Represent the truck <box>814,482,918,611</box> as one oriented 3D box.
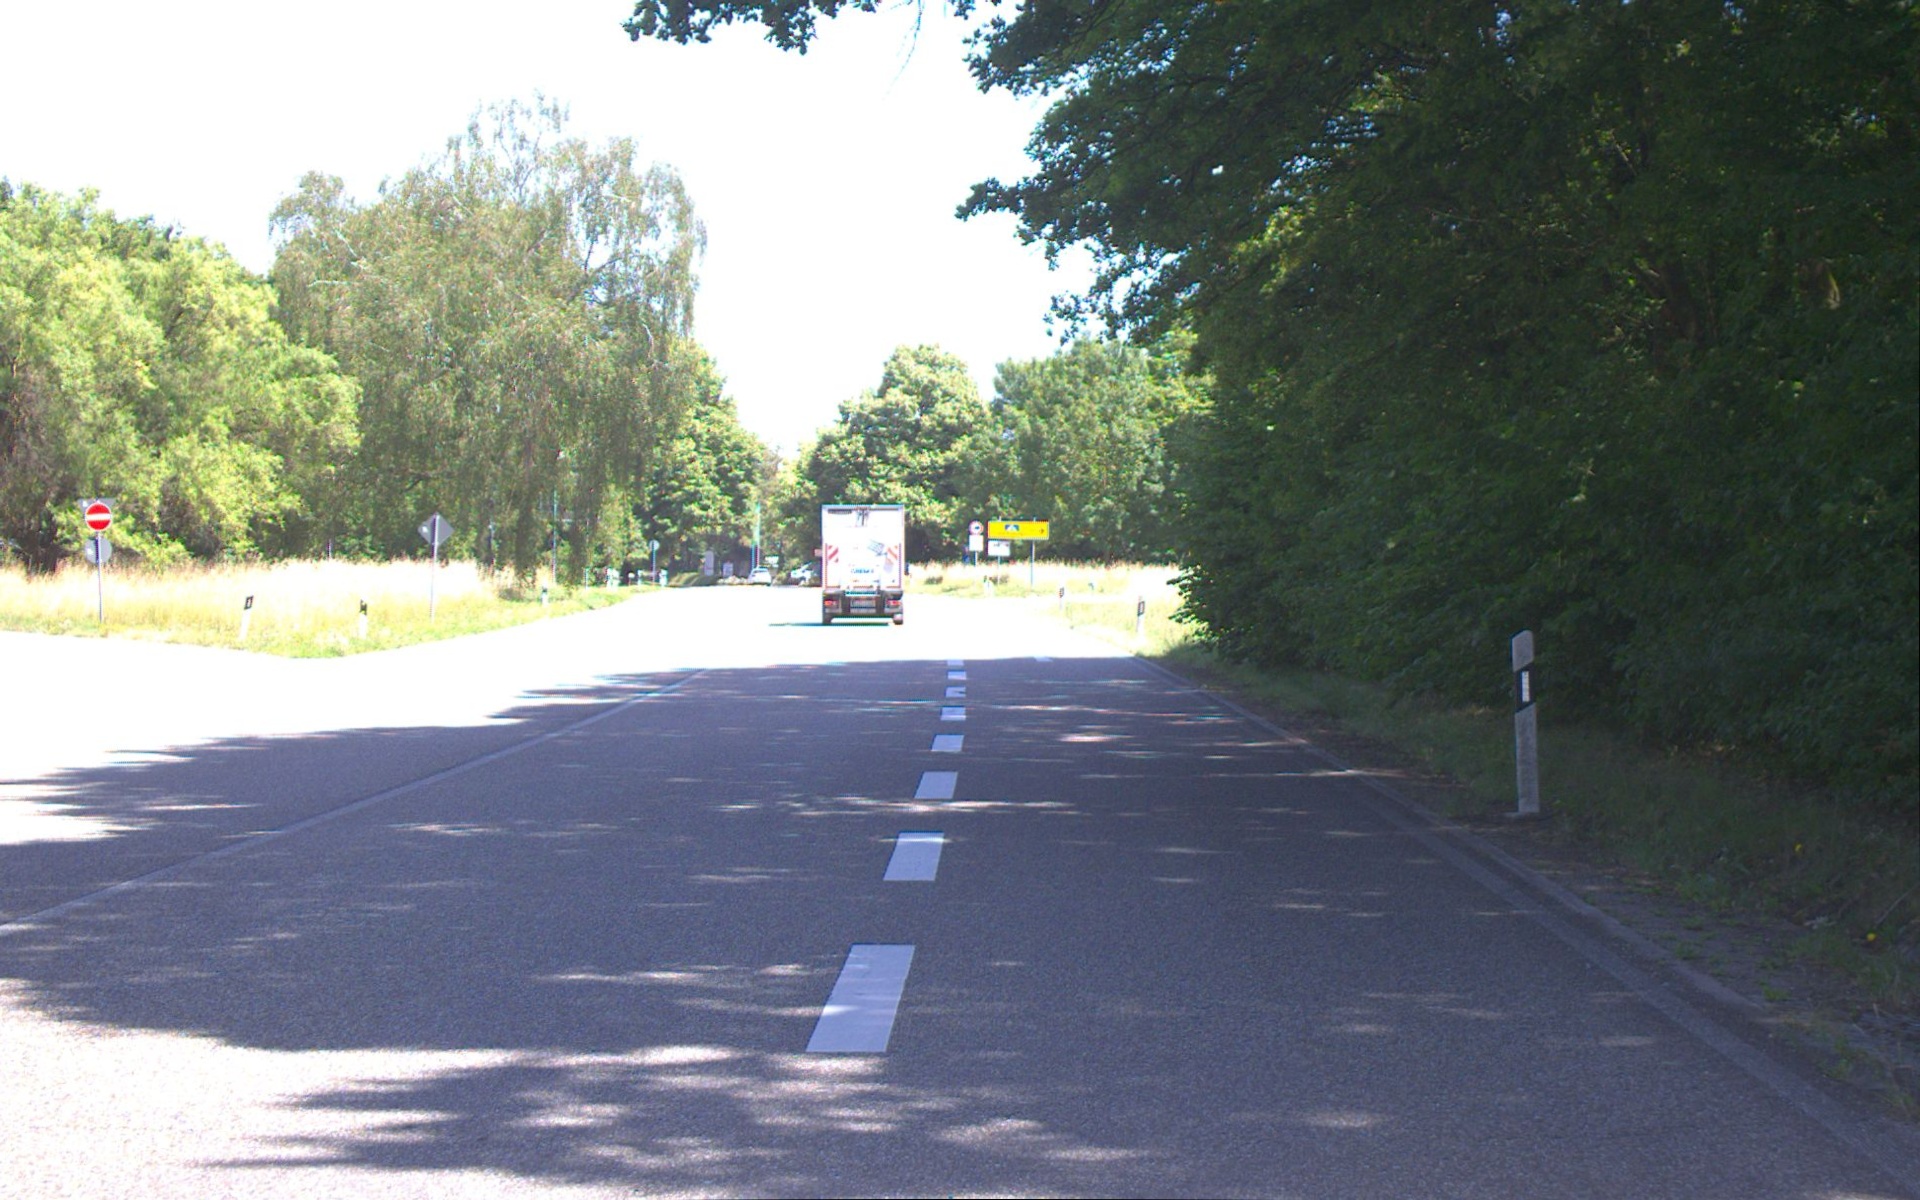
[{"bbox_3d":[-2.312,-1.364,86.028,2.533,3.124,5.361,0,1,-1],"label":"truck"}]
